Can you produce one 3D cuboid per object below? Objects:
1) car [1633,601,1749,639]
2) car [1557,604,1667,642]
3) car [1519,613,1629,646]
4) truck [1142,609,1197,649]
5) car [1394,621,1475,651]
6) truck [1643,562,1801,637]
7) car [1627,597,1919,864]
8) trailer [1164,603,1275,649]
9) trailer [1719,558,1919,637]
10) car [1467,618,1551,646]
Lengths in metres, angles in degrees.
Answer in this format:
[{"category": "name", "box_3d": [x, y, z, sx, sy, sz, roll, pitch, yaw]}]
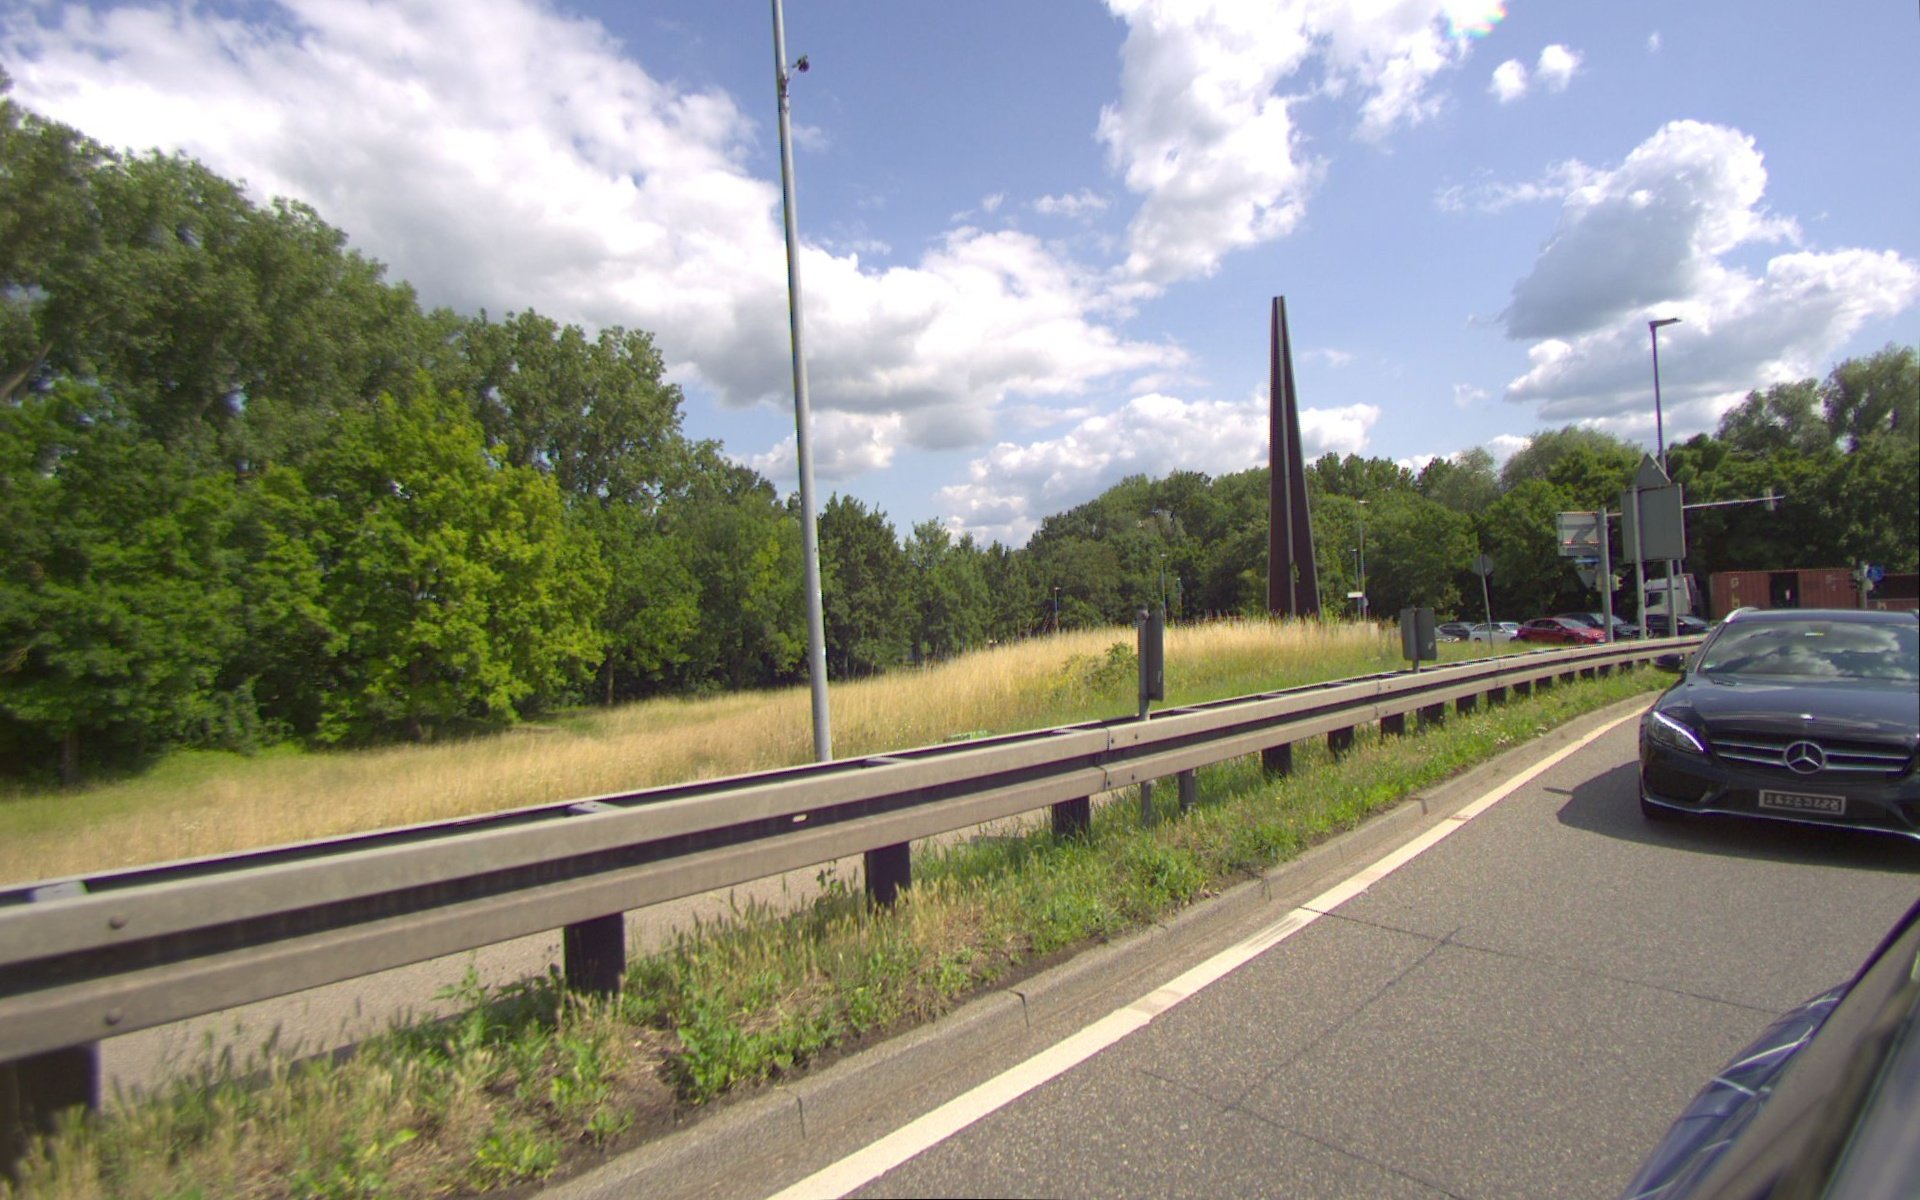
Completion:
[{"category": "car", "box_3d": [34.364, 0.962, 47.731, 1.807, 1.638, 4.300, -2, -2, -11]}, {"category": "car", "box_3d": [30.274, 1.107, 47.134, 1.799, 1.667, 4.221, 0, -2, -11]}, {"category": "car", "box_3d": [27.128, 1.337, 44.914, 1.722, 1.393, 4.221, 0, -2, -11]}, {"category": "truck", "box_3d": [21.946, 3.136, 106.260, 2.817, 3.955, 5.885, 0, -3, -20]}, {"category": "car", "box_3d": [25.603, 1.974, 54.741, 1.828, 1.483, 4.005, -2, -3, -12]}, {"category": "truck", "box_3d": [42.498, 0.059, 56.707, 6.776, 3.895, 2.742, -3, -3, 36]}, {"category": "car", "box_3d": [6.437, 0.723, 7.450, 1.790, 1.454, 4.301, -2, -1, 44]}, {"category": "trailer", "box_3d": [24.995, 2.655, 98.622, 2.592, 3.943, 13.866, 0, -3, -22]}, {"category": "trailer", "box_3d": [47.773, -0.087, 53.175, 12.224, 3.900, 2.748, -2, -2, 32]}, {"category": "car", "box_3d": [29.251, 1.735, 54.074, 1.612, 1.393, 4.221, 0, -2, -11]}]
